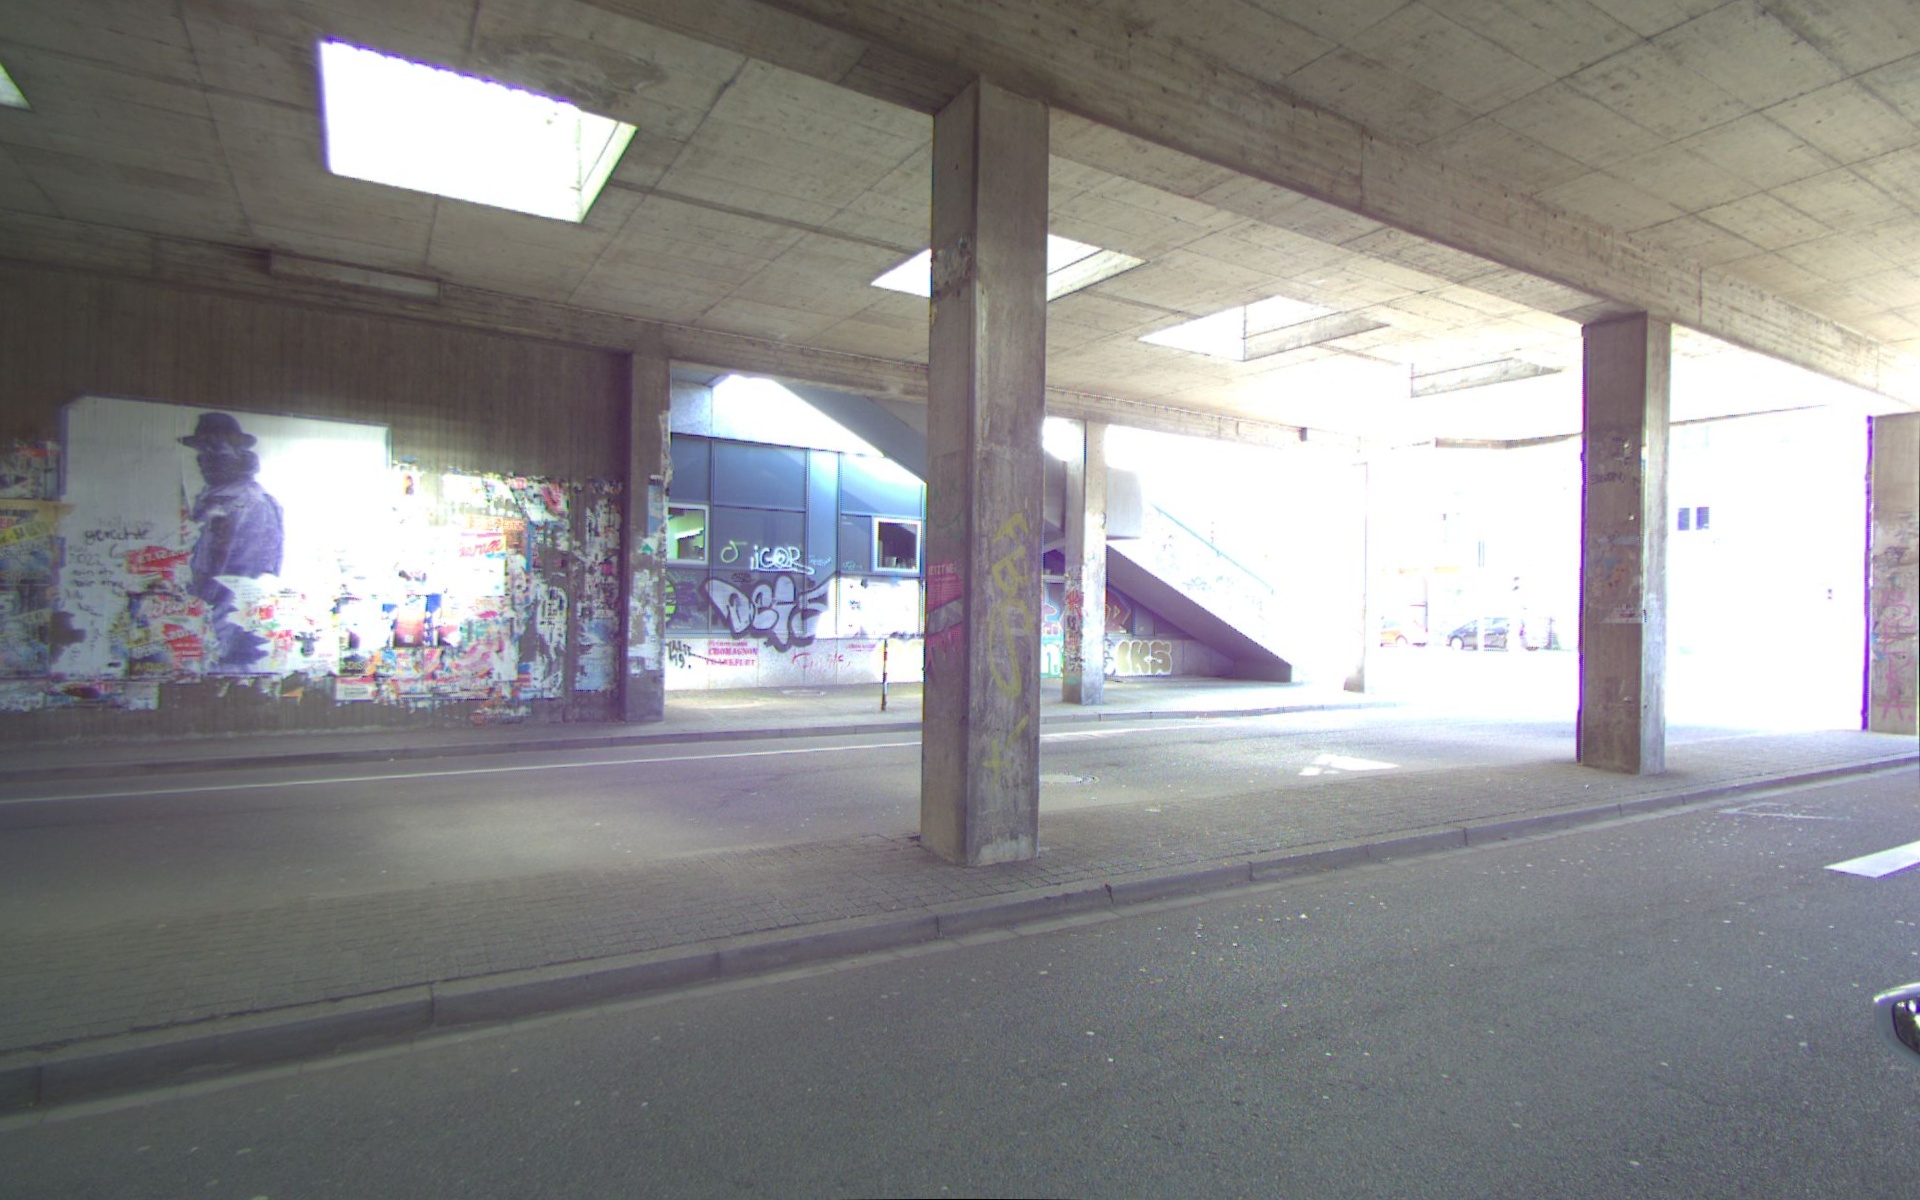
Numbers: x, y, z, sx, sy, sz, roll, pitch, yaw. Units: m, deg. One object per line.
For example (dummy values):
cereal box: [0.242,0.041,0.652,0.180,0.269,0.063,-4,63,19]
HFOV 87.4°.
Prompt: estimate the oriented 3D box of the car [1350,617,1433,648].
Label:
car: [22.556,1.703,52.617,1.730,1.495,3.741,2,-1,-31]

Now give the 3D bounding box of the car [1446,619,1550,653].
car: [25.468,1.691,47.662,1.718,1.495,4.089,2,-1,-31]
